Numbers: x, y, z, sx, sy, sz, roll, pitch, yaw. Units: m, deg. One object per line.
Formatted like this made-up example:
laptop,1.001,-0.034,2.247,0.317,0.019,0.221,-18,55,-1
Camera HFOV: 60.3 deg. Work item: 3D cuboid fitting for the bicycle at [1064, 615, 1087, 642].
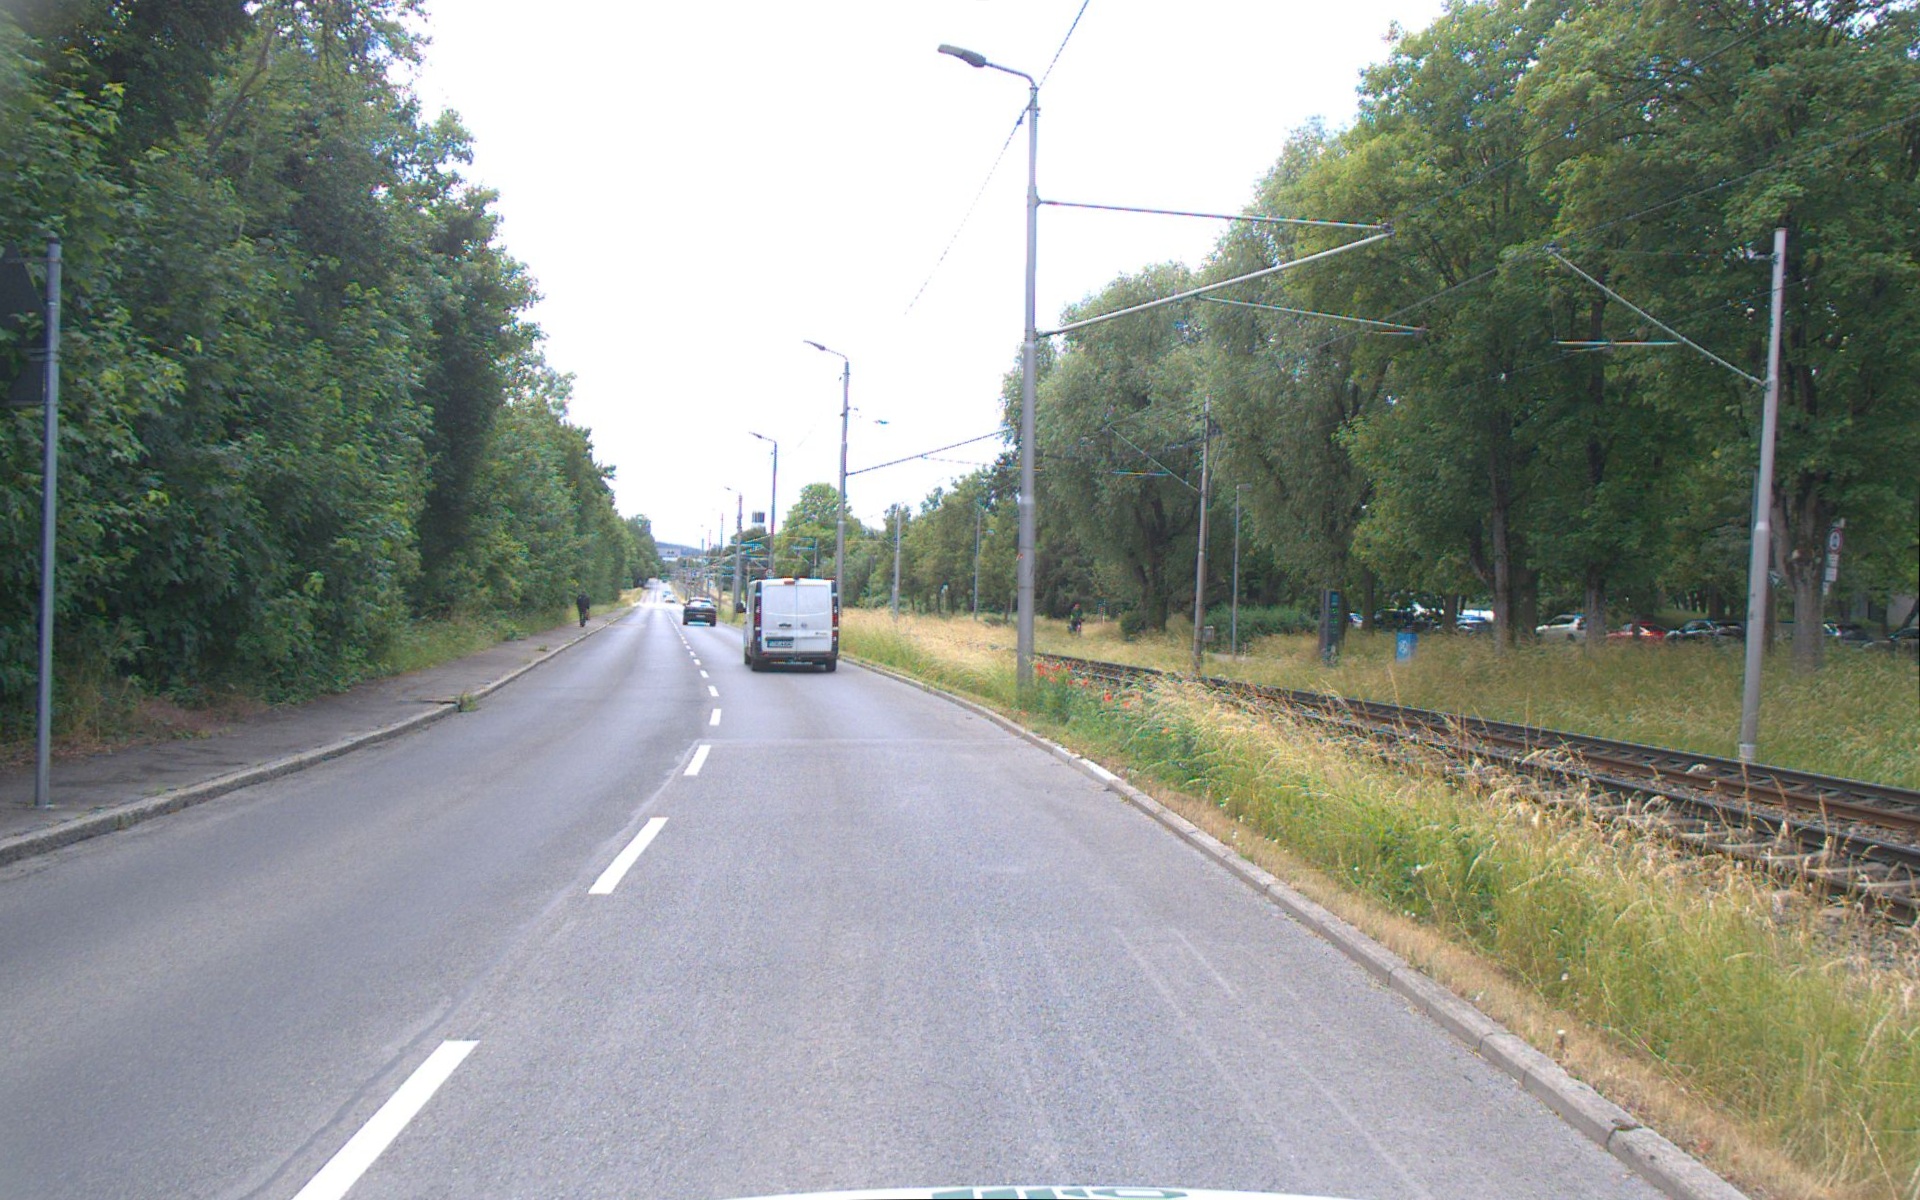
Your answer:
bicycle,5.684,1.383,81.510,0.571,1.268,1.922,2,0,-14

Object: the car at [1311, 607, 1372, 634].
car,27.568,1.462,119.568,1.977,1.844,3.950,2,0,-35

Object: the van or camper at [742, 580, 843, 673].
van or camper,-3.754,0.572,36.593,1.907,1.930,4.274,0,0,-10

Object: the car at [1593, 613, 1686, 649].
car,30.102,1.353,73.364,1.957,1.468,3.990,2,0,-10

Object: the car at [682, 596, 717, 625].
car,-15.615,0.614,98.960,1.957,1.621,3.990,1,0,-10

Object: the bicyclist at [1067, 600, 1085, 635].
bicyclist,5.715,0.853,81.395,0.571,1.726,0.932,2,-1,-14

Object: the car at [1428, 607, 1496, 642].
car,27.190,1.316,89.757,1.956,1.729,3.992,3,0,-8

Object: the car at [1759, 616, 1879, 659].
car,32.168,1.375,62.040,1.957,1.468,3.990,2,0,-10

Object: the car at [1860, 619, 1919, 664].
car,33.198,1.444,56.584,1.957,1.468,4.335,2,0,-10

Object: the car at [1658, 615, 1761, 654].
car,30.929,1.388,68.407,1.957,1.468,3.990,2,0,-10

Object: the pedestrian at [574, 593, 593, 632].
pedestrian,-17.794,0.598,78.143,0.853,1.800,0.786,-1,1,-14

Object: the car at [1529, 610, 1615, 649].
car,29.141,1.387,78.935,1.957,1.729,4.219,3,0,-10
